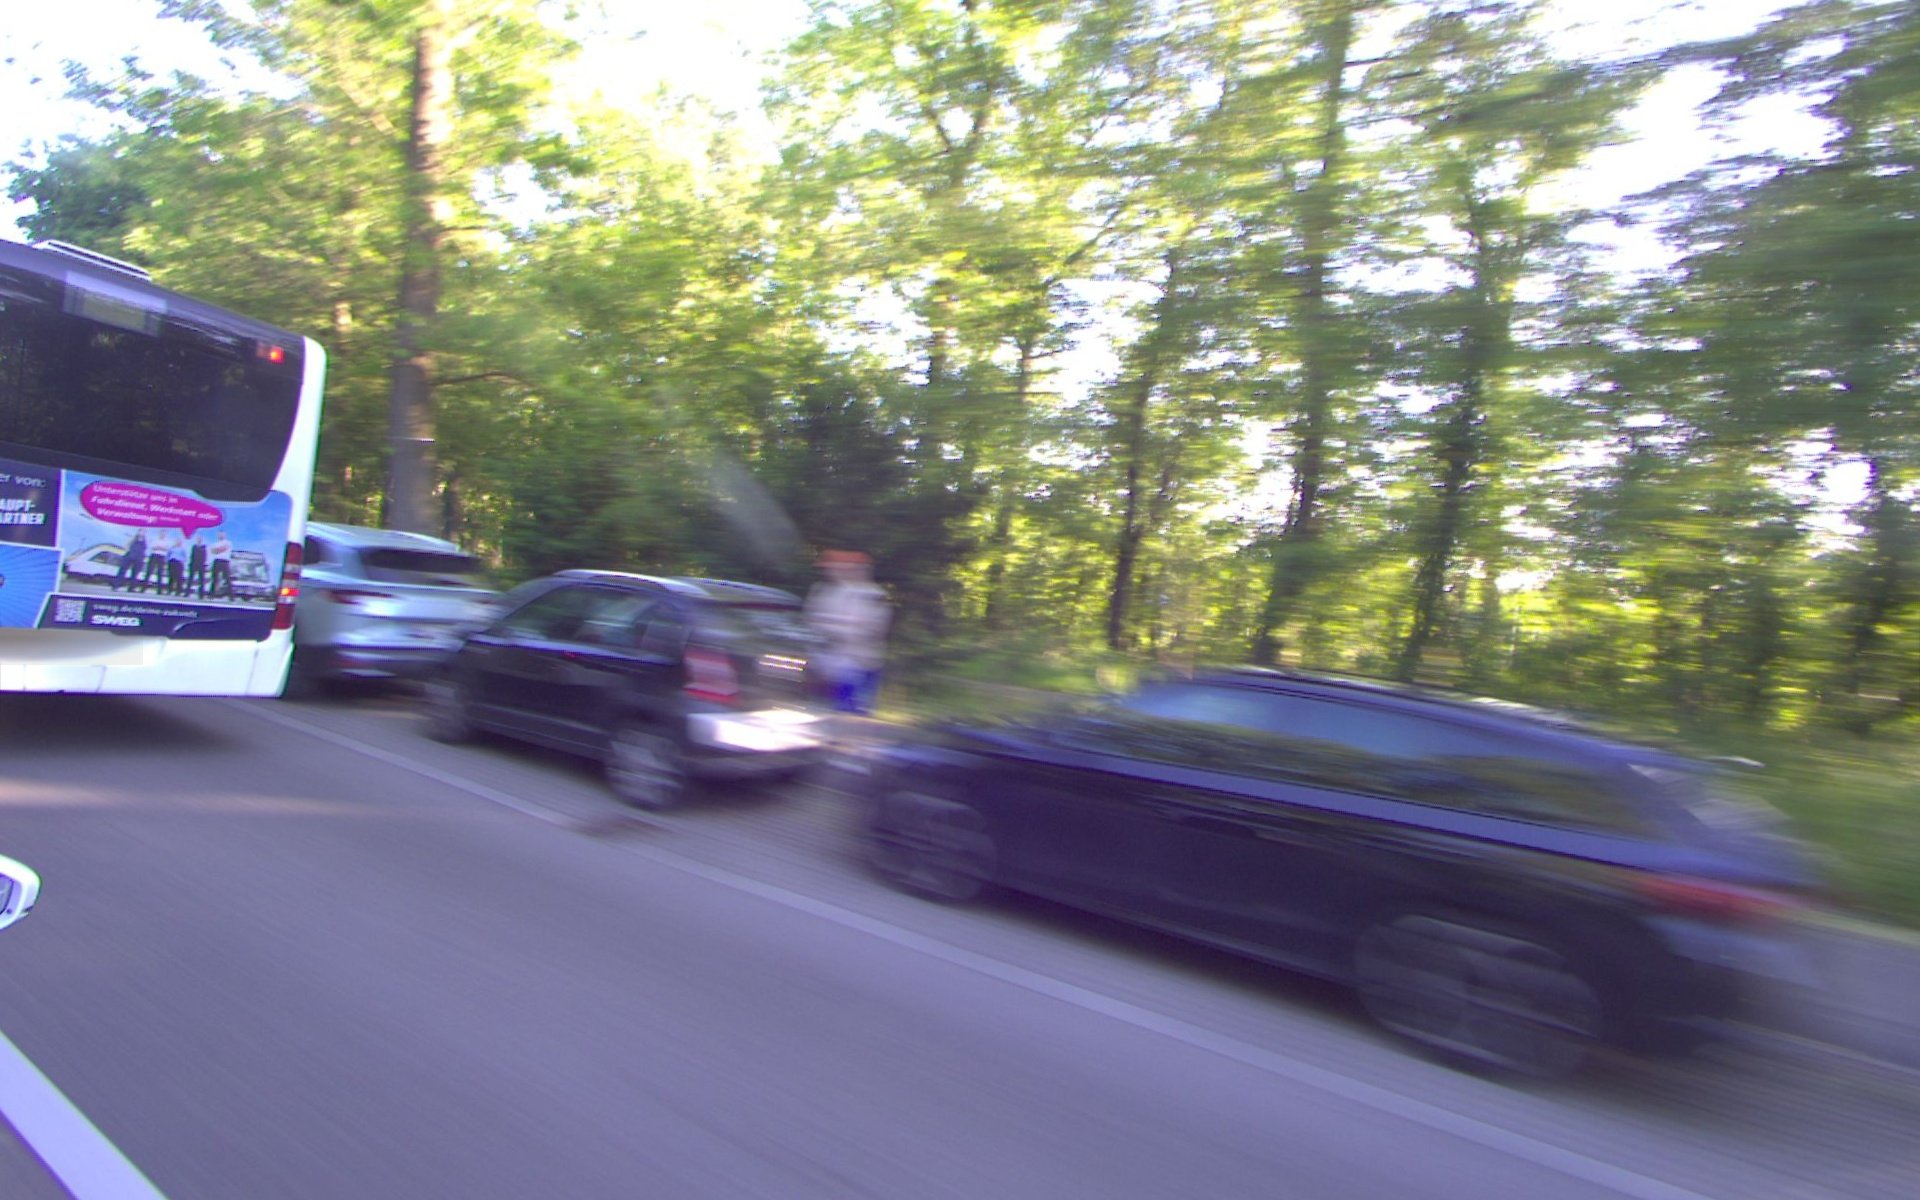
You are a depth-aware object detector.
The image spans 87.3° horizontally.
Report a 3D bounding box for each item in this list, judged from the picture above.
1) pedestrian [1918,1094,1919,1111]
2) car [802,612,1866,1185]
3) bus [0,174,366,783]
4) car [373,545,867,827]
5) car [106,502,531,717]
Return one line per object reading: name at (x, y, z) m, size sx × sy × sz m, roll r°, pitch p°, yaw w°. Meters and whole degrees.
pedestrian at (4.212, 1.204, 3.666) m, size 0.722 × 1.779 × 0.512 m, roll 7°, pitch 2°, yaw 19°
car at (1.516, 1.047, 5.305) m, size 4.460 × 1.453 × 1.853 m, roll 7°, pitch 1°, yaw 33°
bus at (-10.030, -1.155, 9.025) m, size 12.077 × 3.261 × 2.707 m, roll 6°, pitch 0°, yaw 33°
car at (-2.820, 0.522, 8.067) m, size 3.845 × 1.542 × 1.595 m, roll 7°, pitch 2°, yaw 32°
car at (-6.789, 0.026, 10.492) m, size 4.645 × 1.604 × 1.854 m, roll 7°, pitch 0°, yaw 32°
